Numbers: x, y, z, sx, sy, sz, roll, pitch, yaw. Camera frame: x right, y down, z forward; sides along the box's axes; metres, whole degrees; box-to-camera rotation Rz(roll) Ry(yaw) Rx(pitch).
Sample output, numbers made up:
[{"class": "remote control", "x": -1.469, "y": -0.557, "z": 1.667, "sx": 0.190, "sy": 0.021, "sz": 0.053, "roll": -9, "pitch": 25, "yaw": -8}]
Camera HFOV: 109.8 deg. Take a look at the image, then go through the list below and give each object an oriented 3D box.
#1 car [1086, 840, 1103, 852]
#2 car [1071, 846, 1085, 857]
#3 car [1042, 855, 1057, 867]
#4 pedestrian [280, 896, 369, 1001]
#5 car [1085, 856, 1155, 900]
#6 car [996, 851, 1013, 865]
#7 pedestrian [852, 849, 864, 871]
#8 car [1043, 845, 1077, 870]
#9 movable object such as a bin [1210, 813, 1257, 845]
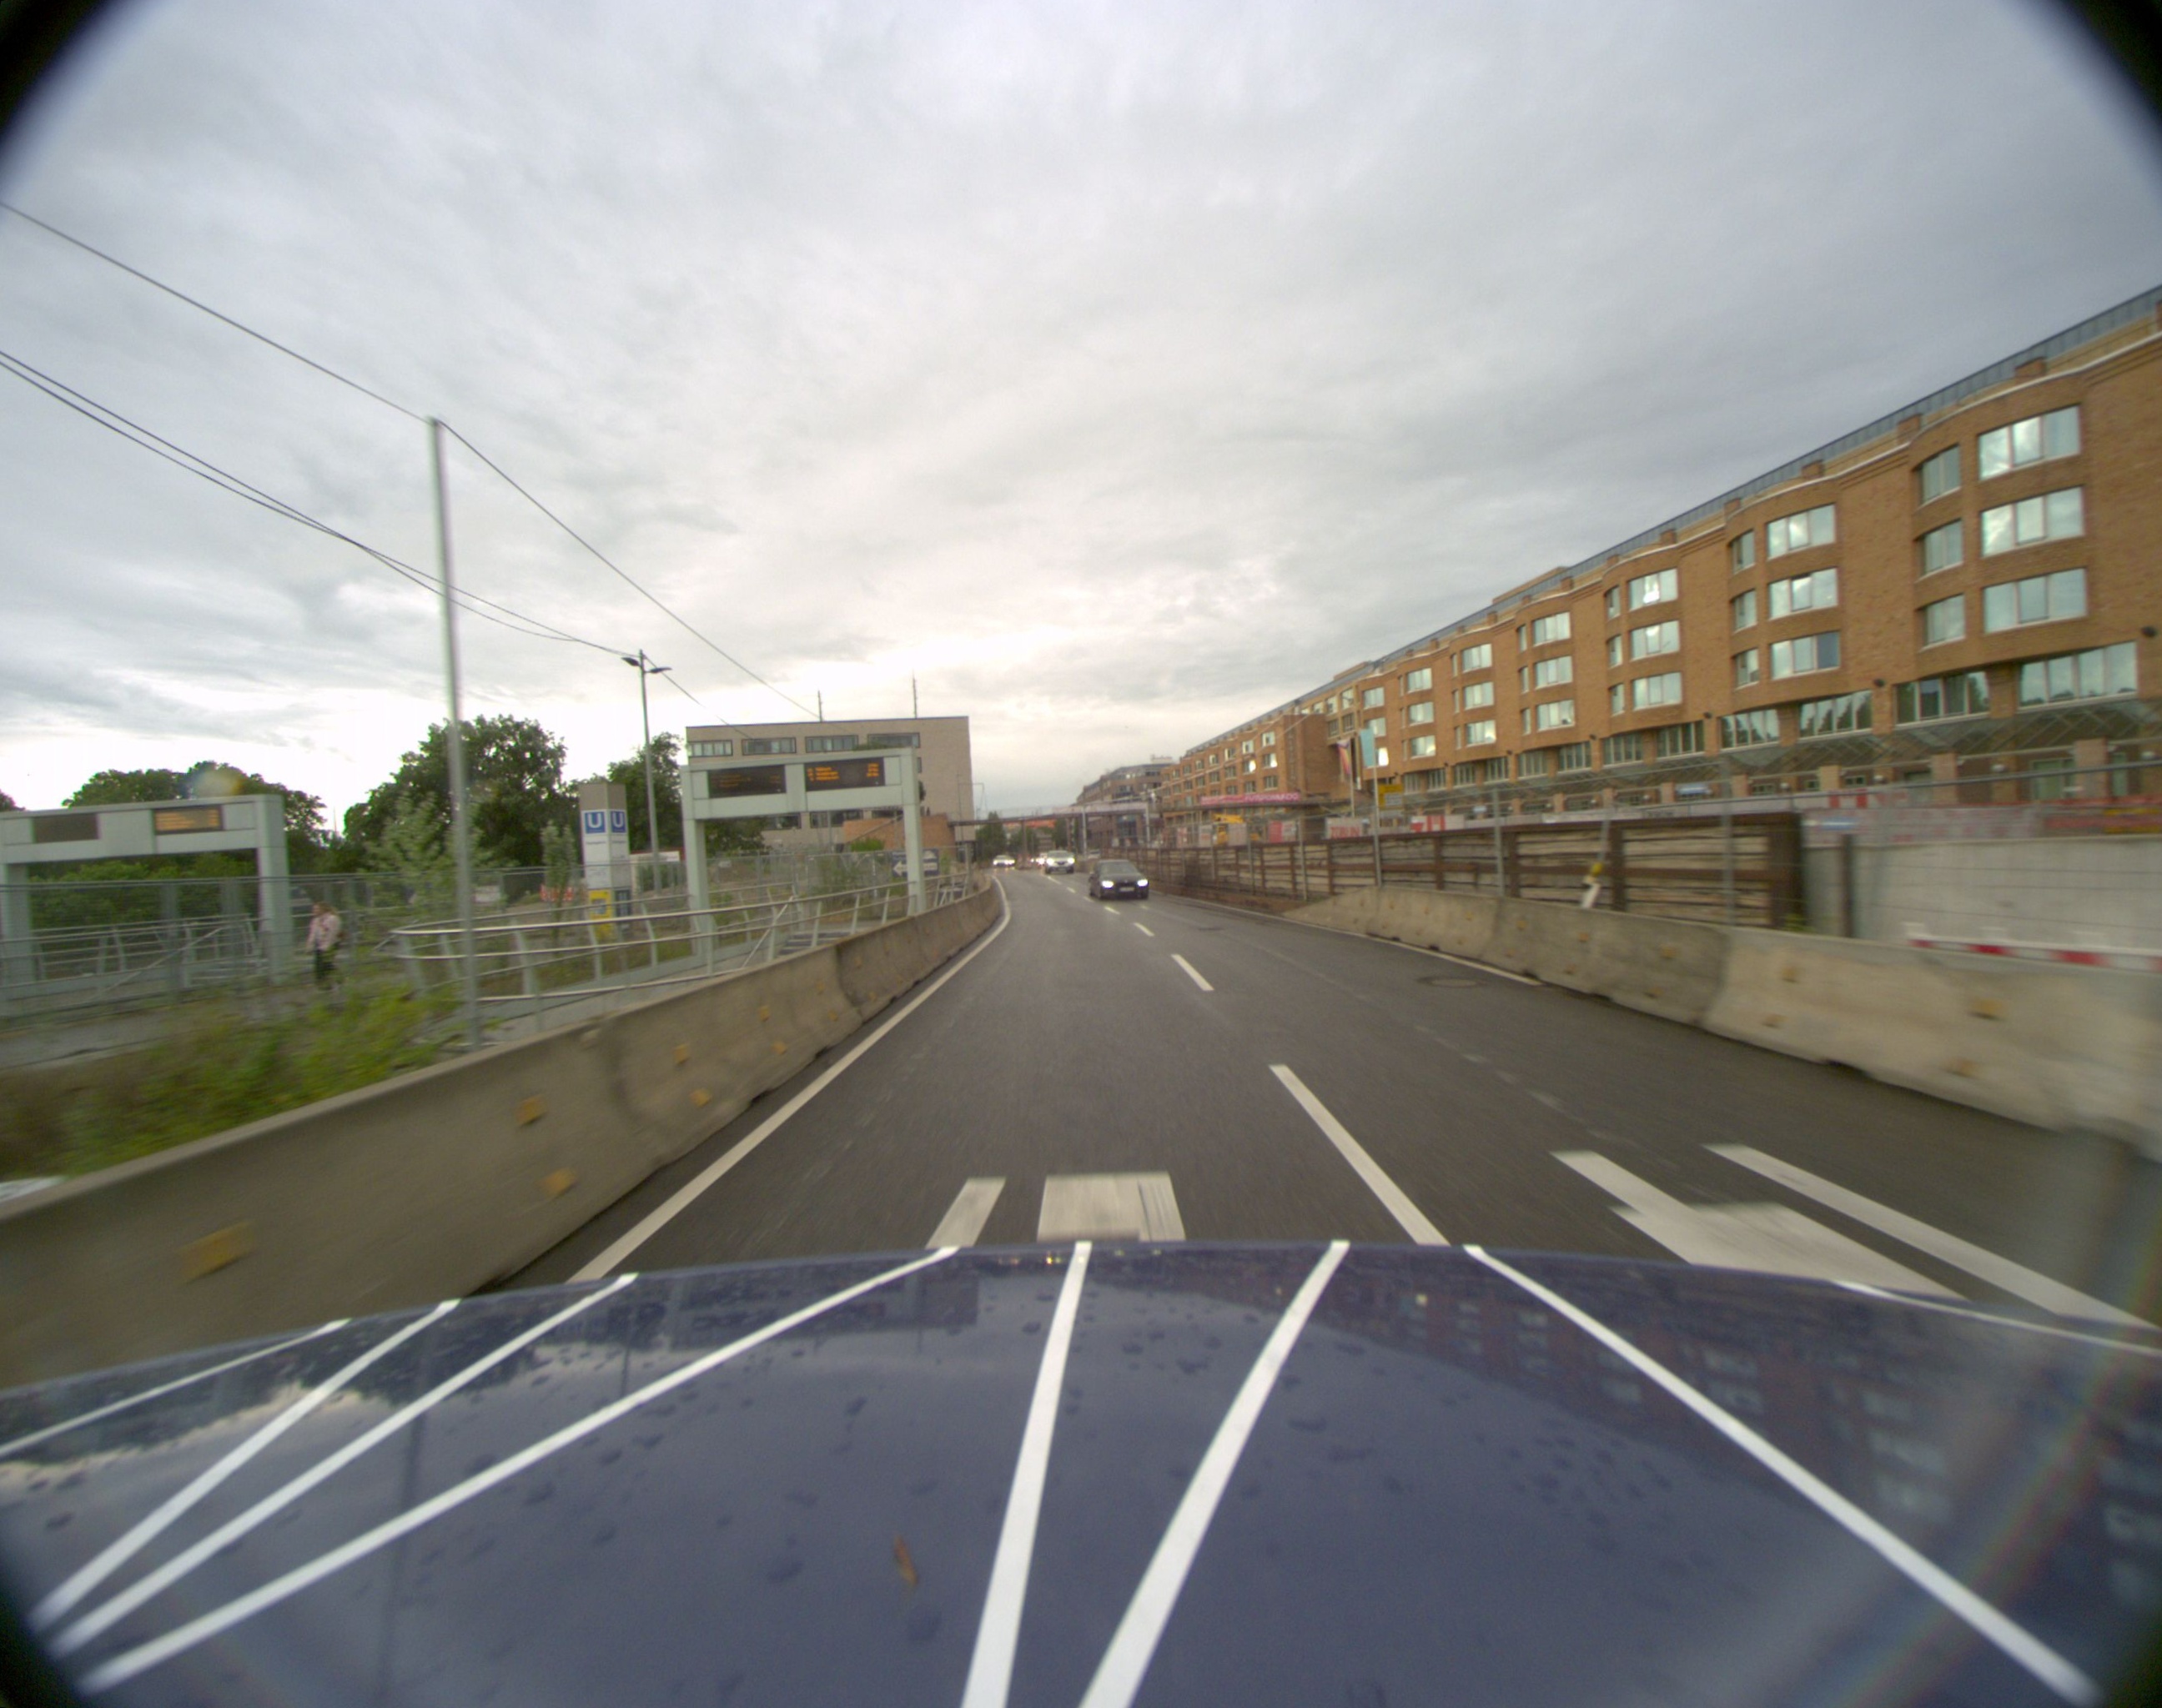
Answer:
[{"class": "car", "x": 1.949, "y": -1.161, "z": 111.052, "sx": 1.752, "sy": 1.540, "sz": 4.519, "roll": -3, "pitch": 1, "yaw": -9}, {"class": "car", "x": -0.638, "y": -0.477, "z": 148.304, "sx": 1.811, "sy": 1.810, "sz": 5.297, "roll": -3, "pitch": 0, "yaw": -9}, {"class": "car", "x": -4.236, "y": 0.921, "z": 101.485, "sx": 1.773, "sy": 1.524, "sz": 4.654, "roll": -4, "pitch": 0, "yaw": -5}, {"class": "pedestrian", "x": -13.629, "y": 1.673, "z": 13.710, "sx": 0.690, "sy": 1.768, "sz": 0.816, "roll": -2, "pitch": 2, "yaw": 20}, {"class": "car", "x": 1.384, "y": 0.843, "z": 29.021, "sx": 1.773, "sy": 1.435, "sz": 4.653, "roll": -4, "pitch": 0, "yaw": -7}, {"class": "car", "x": -9.123, "y": 0.509, "z": 90.821, "sx": 1.773, "sy": 1.524, "sz": 4.654, "roll": -4, "pitch": 0, "yaw": -5}, {"class": "pedestrian", "x": -18.227, "y": 0.498, "z": 62.181, "sx": 0.693, "sy": 1.768, "sz": 0.813, "roll": -4, "pitch": 2, "yaw": -31}, {"class": "car", "x": -1.543, "y": 0.239, "z": 53.452, "sx": 1.773, "sy": 1.524, "sz": 4.652, "roll": -4, "pitch": 0, "yaw": -8}, {"class": "movable object such as a bin", "x": 11.441, "y": -1.870, "z": 57.199, "sx": 2.033, "sy": 2.264, "sz": 4.289, "roll": 0, "pitch": 0, "yaw": -10}]
